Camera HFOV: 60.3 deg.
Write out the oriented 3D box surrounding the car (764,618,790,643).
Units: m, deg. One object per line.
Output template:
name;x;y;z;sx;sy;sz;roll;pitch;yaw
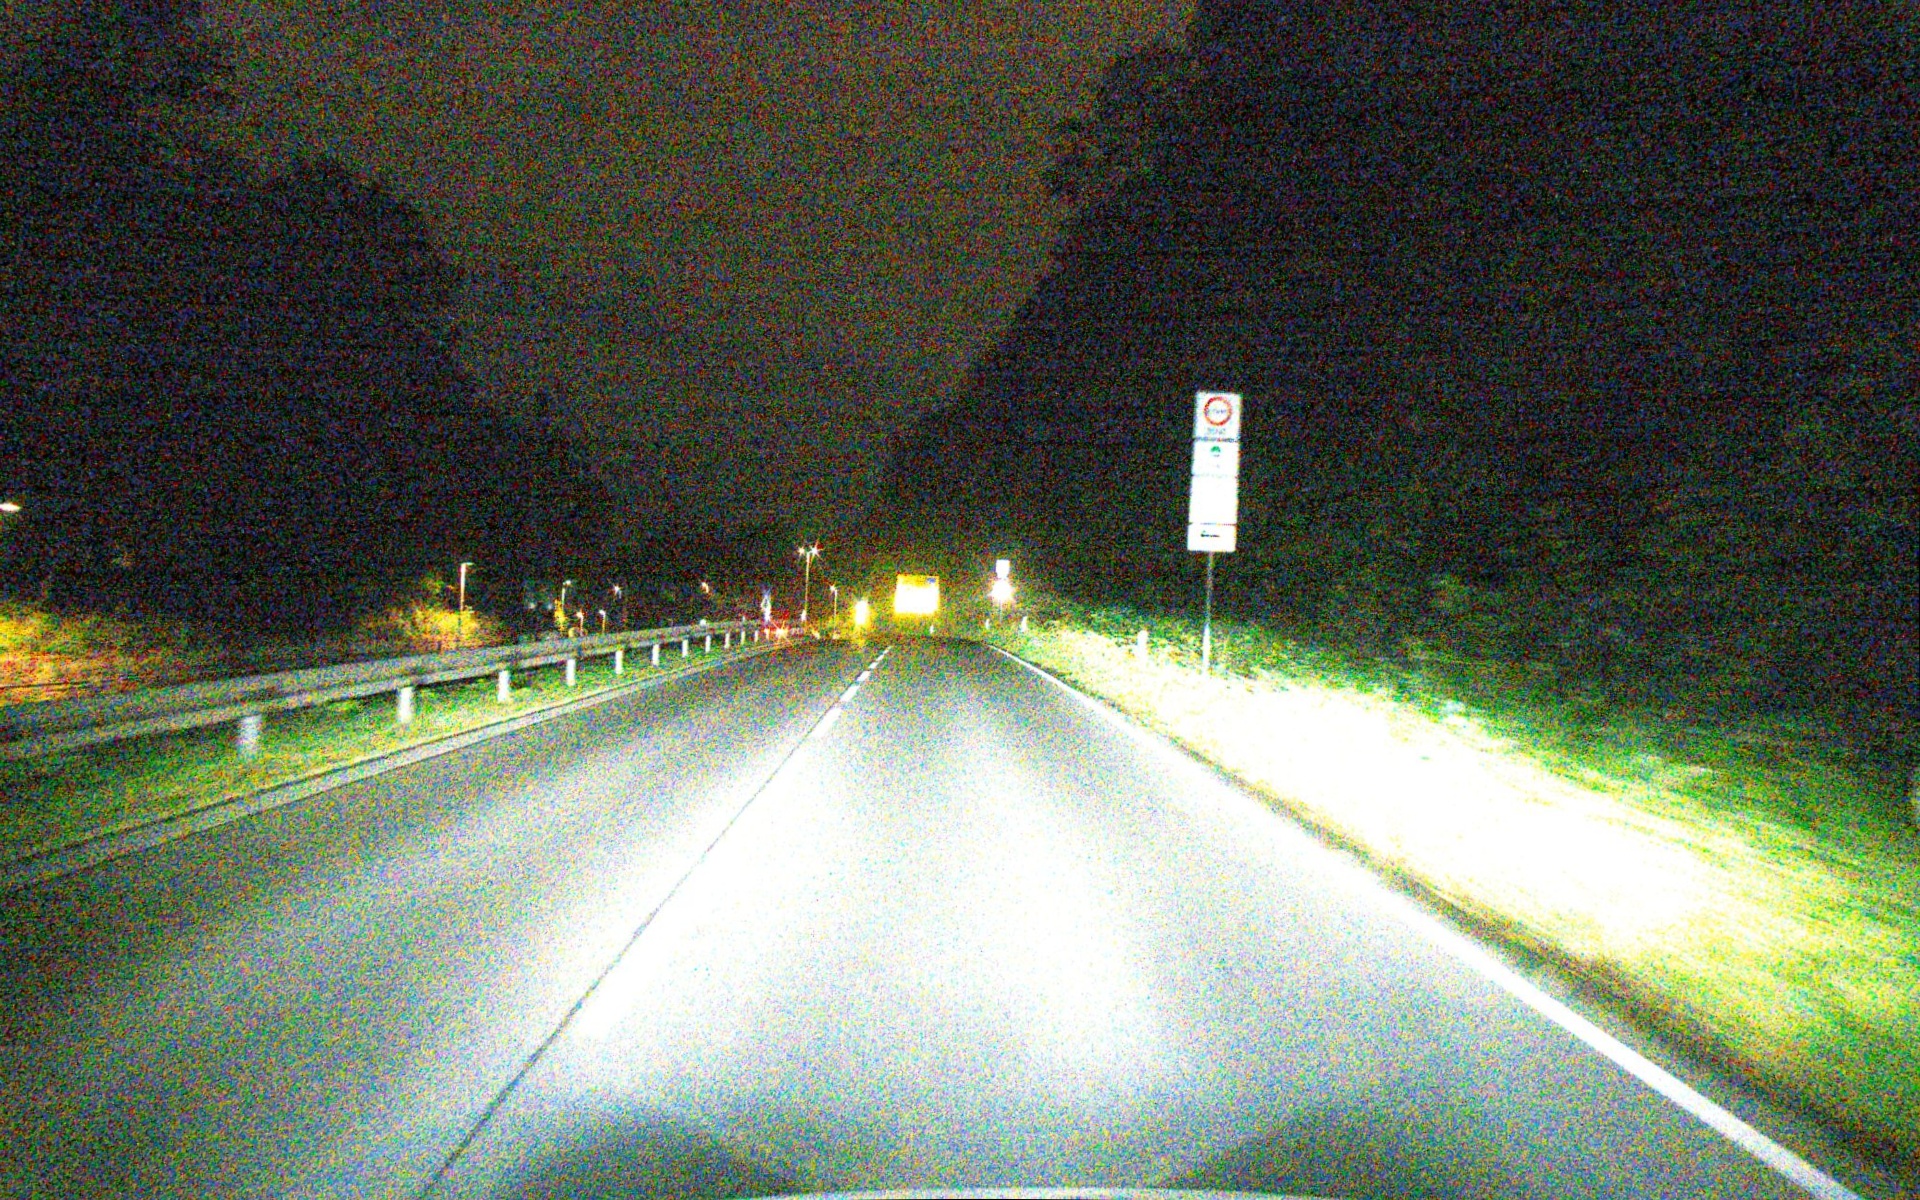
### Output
car;-16.406;2.737;148.208;1.958;2.049;3.989;4;-3;-10
